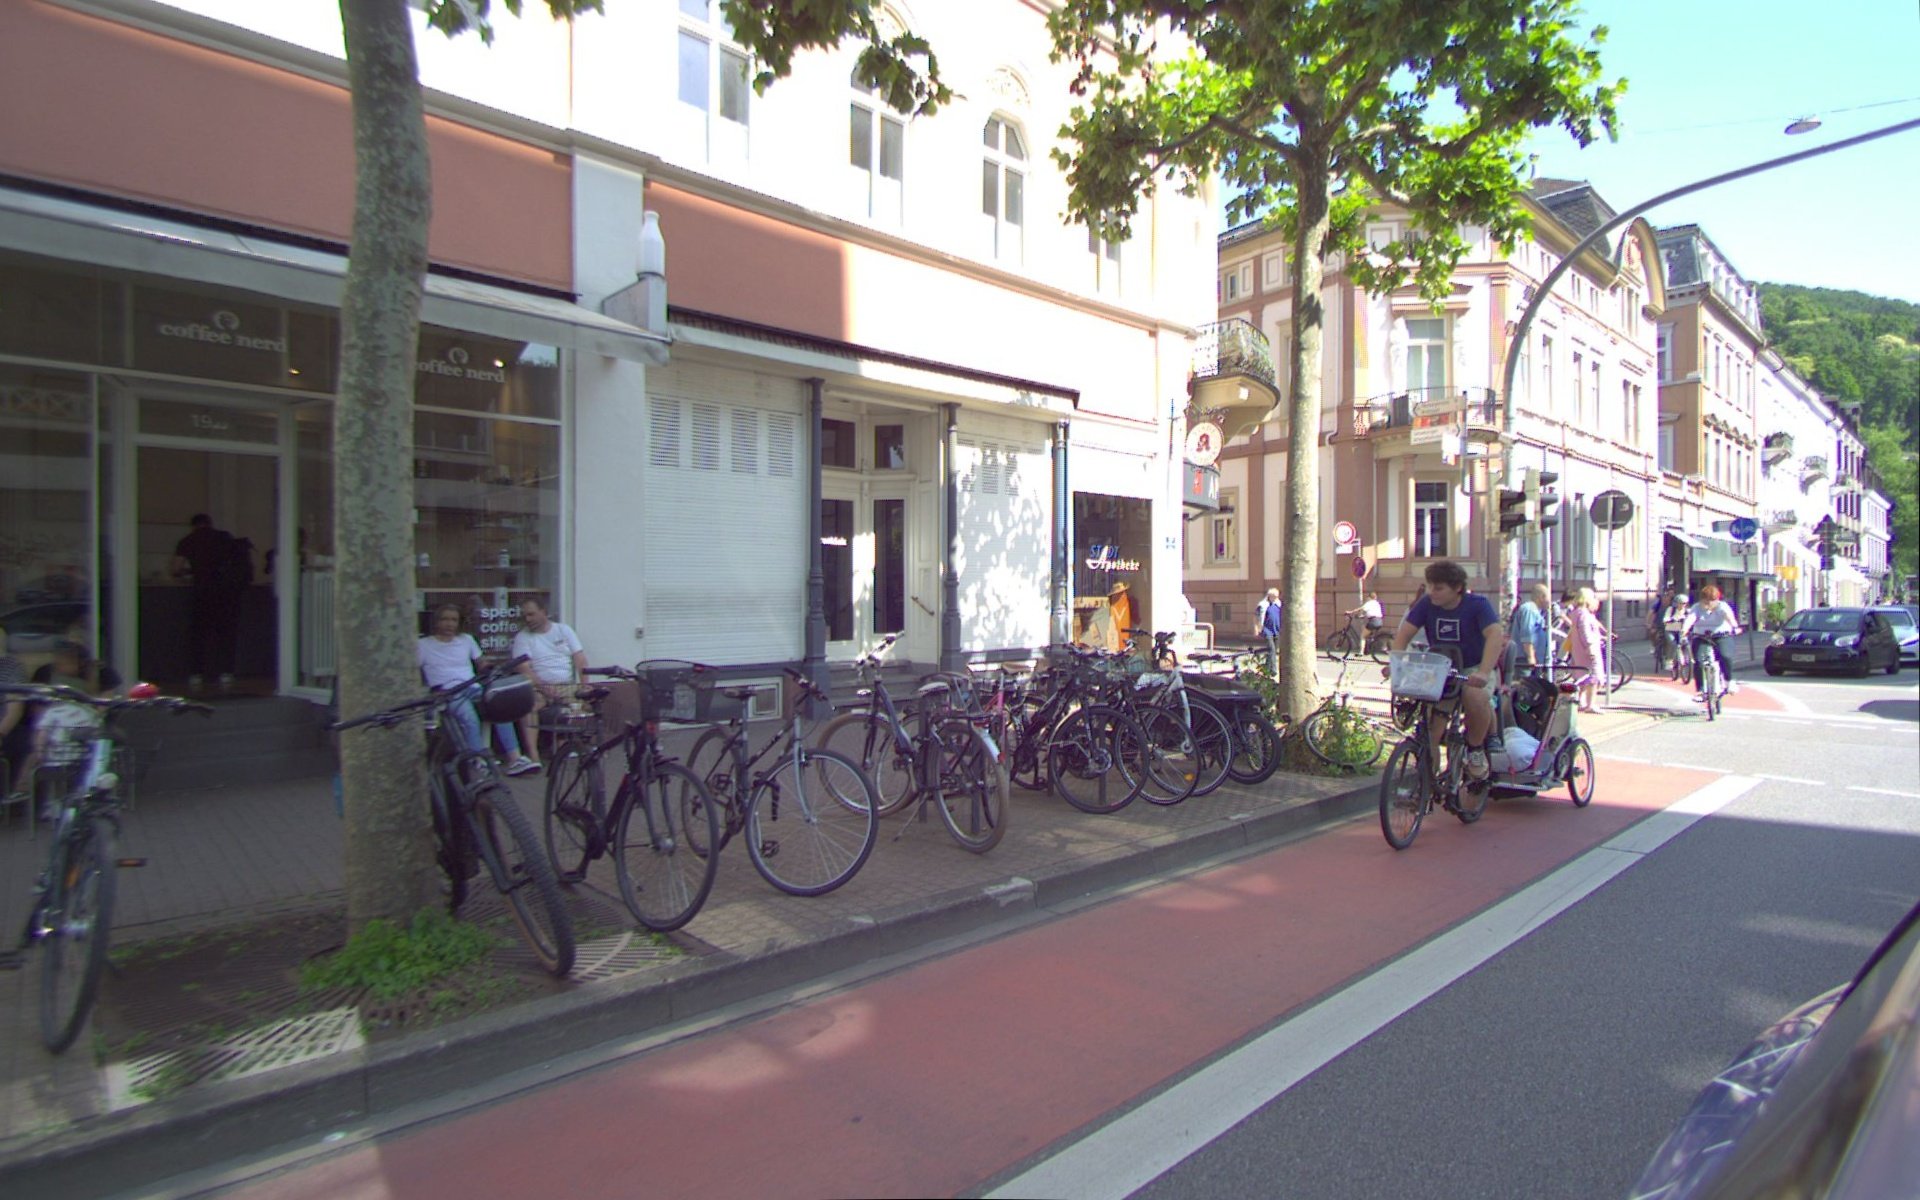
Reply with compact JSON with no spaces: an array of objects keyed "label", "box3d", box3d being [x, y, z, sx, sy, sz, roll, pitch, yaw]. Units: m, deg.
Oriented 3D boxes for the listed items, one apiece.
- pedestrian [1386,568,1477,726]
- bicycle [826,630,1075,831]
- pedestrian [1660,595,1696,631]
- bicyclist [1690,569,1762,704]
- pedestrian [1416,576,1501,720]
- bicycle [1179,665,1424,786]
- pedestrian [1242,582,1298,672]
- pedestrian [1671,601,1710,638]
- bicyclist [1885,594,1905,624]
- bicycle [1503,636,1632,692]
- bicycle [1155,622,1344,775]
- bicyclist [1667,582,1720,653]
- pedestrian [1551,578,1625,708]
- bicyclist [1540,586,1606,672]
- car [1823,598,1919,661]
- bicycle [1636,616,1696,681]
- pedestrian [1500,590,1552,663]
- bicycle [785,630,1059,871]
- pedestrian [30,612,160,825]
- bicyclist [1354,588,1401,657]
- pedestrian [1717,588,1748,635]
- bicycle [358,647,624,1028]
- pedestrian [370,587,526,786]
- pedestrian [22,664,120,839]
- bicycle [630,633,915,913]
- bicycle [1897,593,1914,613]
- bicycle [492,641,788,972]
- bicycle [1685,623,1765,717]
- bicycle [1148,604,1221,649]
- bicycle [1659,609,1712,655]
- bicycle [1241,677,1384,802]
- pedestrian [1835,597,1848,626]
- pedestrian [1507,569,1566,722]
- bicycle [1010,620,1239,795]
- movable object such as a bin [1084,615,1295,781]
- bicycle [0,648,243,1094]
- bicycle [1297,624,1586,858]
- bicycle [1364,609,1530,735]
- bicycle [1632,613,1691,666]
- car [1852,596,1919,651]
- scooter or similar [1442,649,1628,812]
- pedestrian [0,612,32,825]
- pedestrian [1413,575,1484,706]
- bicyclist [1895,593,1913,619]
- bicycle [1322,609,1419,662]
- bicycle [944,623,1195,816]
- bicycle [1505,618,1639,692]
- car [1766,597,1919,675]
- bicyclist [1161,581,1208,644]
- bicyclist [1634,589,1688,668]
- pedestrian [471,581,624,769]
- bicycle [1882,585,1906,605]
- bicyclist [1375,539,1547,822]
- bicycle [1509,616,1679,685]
[{"label":"pedestrian","box3d":[5.640,0.548,12.119,0.631,1.818,0.787,1,-2,-45]},{"label":"bicycle","box3d":[-0.129,0.795,6.871,0.655,1.141,1.843,-1,0,-40]},{"label":"pedestrian","box3d":[27.536,0.501,38.834,0.614,1.332,1.030,0,0,-43]},{"label":"bicyclist","box3d":[10.307,0.480,13.611,0.681,1.739,0.832,-2,-2,40]},{"label":"pedestrian","box3d":[6.204,0.573,12.602,0.631,1.712,0.787,1,-1,-45]},{"label":"bicycle","box3d":[2.974,1.130,8.951,1.853,0.395,1.019,-13,26,51]},{"label":"pedestrian","box3d":[5.947,0.519,19.405,0.774,1.679,0.641,3,-2,-31]},{"label":"pedestrian","box3d":[28.215,0.744,39.089,0.614,1.332,1.087,0,3,-43]},{"label":"bicyclist","box3d":[55.075,0.531,59.603,1.018,1.724,0.747,0,1,-42]},{"label":"bicycle","box3d":[10.364,1.070,17.313,0.492,0.855,1.824,0,-1,-41]},{"label":"bicycle","box3d":[2.352,0.768,8.469,0.338,1.141,1.848,1,-2,-27]},{"label":"bicyclist","box3d":[18.407,0.418,25.399,0.830,1.738,0.909,0,1,-42]},{"label":"pedestrian","box3d":[8.706,0.582,14.029,0.777,1.731,0.639,-2,-1,-45]},{"label":"bicyclist","box3d":[10.444,0.470,17.246,0.492,1.429,0.860,0,0,-41]},{"label":"car","box3d":[23.268,0.704,25.404,4.805,1.443,1.953,0,-2,-44]},{"label":"bicycle","box3d":[14.693,0.985,21.048,1.828,1.140,0.607,-4,4,-41]},{"label":"pedestrian","box3d":[13.316,0.611,23.833,0.891,1.631,0.971,0,3,19]},{"label":"bicycle","box3d":[-0.294,0.788,6.036,0.632,1.141,1.843,-1,1,-40]},{"label":"pedestrian","box3d":[-5.716,0.739,6.690,0.599,1.268,0.639,-1,2,-45]},{"label":"bicyclist","box3d":[9.928,0.519,24.064,0.830,1.593,0.747,0,1,-42]},{"label":"pedestrian","box3d":[30.585,0.432,40.059,0.754,1.813,0.839,0,1,-42]},{"label":"bicycle","box3d":[-2.010,0.819,4.186,0.521,1.141,1.843,-1,1,-40]},{"label":"pedestrian","box3d":[-4.121,0.622,8.121,0.777,1.440,1.233,-1,1,-45]},{"label":"pedestrian","box3d":[-5.376,0.893,6.130,0.429,0.980,0.365,0,-1,-41]},{"label":"bicycle","box3d":[-1.060,0.786,5.349,0.655,1.141,1.843,-1,1,-40]},{"label":"bicycle","box3d":[59.665,0.193,63.869,2.058,1.140,0.595,-3,3,-41]},{"label":"bicycle","box3d":[-1.561,0.811,4.711,0.655,1.141,1.843,-1,1,-40]},{"label":"bicycle","box3d":[10.291,0.897,13.587,0.734,1.141,2.004,-2,-2,40]},{"label":"bicycle","box3d":[6.260,0.725,28.329,0.562,1.141,2.076,1,1,-38]},{"label":"bicycle","box3d":[18.375,0.788,25.616,1.886,1.132,0.747,0,-1,-43]},{"label":"bicycle","box3d":[3.396,1.267,9.661,1.128,0.438,1.847,10,13,21]},{"label":"pedestrian","box3d":[51.832,0.646,59.518,0.853,1.689,0.482,0,0,-43]},{"label":"pedestrian","box3d":[7.076,0.551,12.419,0.598,1.818,0.452,1,-2,-45]},{"label":"bicycle","box3d":[1.218,0.756,7.886,0.654,1.141,1.846,-1,1,-35]},{"label":"movable object such as a bin","box3d":[1.833,0.747,8.400,0.639,1.204,1.859,0,-2,-27]},{"label":"bicycle","box3d":[-3.141,0.811,3.715,0.668,1.141,1.843,-1,2,-40]},{"label":"bicycle","box3d":[3.170,0.801,6.553,2.239,1.285,0.734,1,-2,-37]},{"label":"bicycle","box3d":[5.051,0.744,10.658,0.702,1.204,1.857,1,-3,-5]},{"label":"bicycle","box3d":[16.074,0.885,23.171,1.957,1.132,0.663,0,0,-42]},{"label":"car","box3d":[28.363,0.674,30.430,4.219,1.510,1.887,-1,-2,-44]},{"label":"scooter or similar","box3d":[4.337,0.933,7.640,1.104,1.074,0.786,0,-2,-34]},{"label":"pedestrian","box3d":[-6.137,0.721,6.278,0.523,1.269,0.681,1,0,-45]},{"label":"pedestrian","box3d":[7.166,0.582,14.855,0.602,1.867,0.641,-1,-2,-30]},{"label":"bicyclist","box3d":[59.510,0.362,63.770,0.830,1.593,0.747,0,1,-42]},{"label":"bicycle","box3d":[9.730,0.854,23.914,3.183,1.141,0.749,3,-1,-42]},{"label":"bicycle","box3d":[0.723,0.766,7.224,0.655,1.141,1.843,-1,1,-40]},{"label":"bicycle","box3d":[10.421,0.905,17.299,0.654,1.141,1.844,-1,1,-38]},{"label":"car","box3d":[18.893,0.708,21.582,3.659,1.497,1.634,-1,0,-34]},{"label":"bicyclist","box3d":[6.273,0.338,28.328,0.562,1.682,1.158,2,1,-38]},{"label":"bicyclist","box3d":[15.974,0.626,23.077,0.830,1.738,0.839,0,1,-42]},{"label":"pedestrian","box3d":[-3.606,0.596,8.817,0.823,1.502,1.252,0,0,-45]},{"label":"bicycle","box3d":[54.532,-0.293,59.096,2.529,1.141,0.743,-1,2,-42]},{"label":"bicyclist","box3d":[3.254,0.471,6.583,0.760,1.694,0.733,0,1,-37]},{"label":"bicycle","box3d":[11.515,0.882,18.456,2.565,1.141,0.618,0,-1,44]}]
